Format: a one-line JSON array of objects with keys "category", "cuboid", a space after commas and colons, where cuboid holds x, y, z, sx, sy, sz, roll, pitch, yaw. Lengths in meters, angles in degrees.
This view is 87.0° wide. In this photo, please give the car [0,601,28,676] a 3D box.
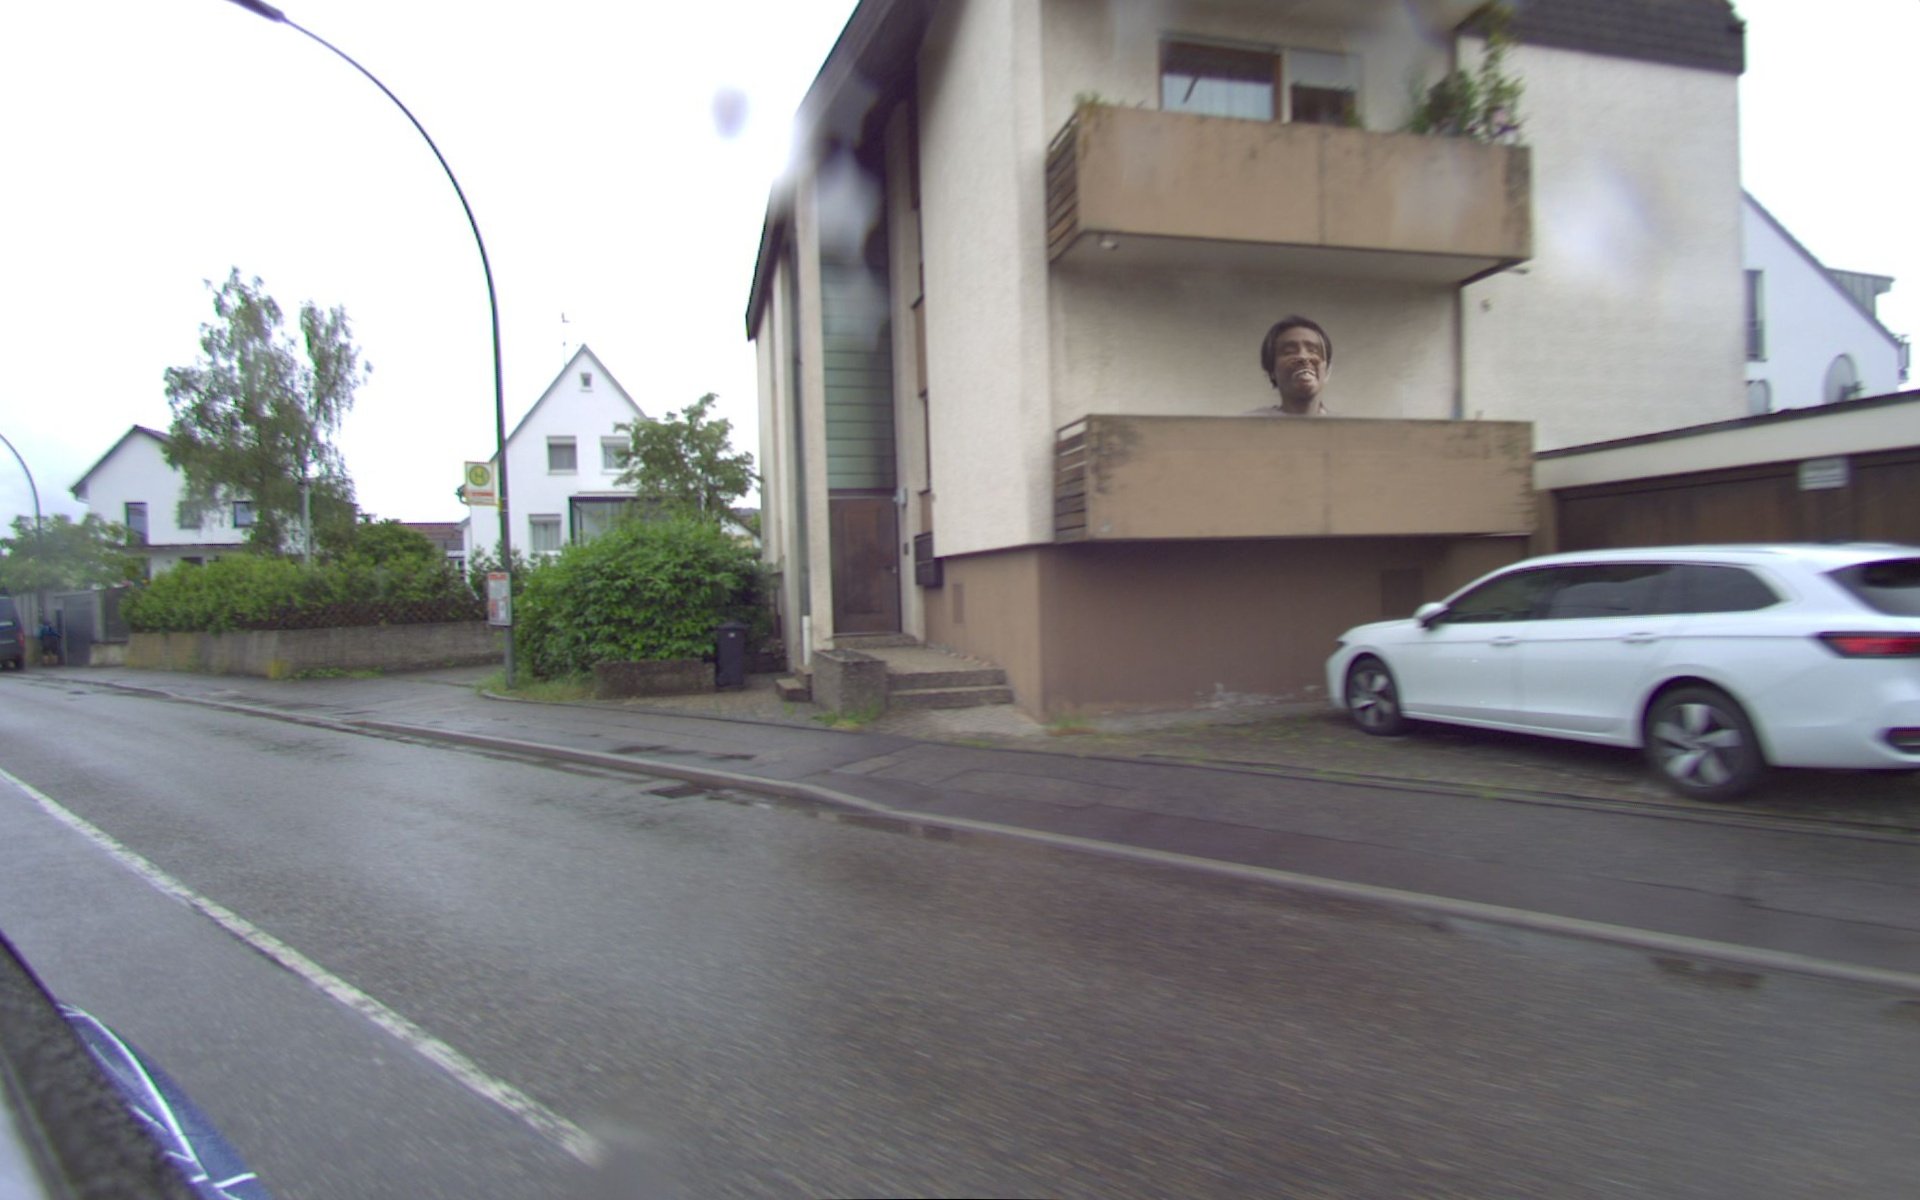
[{"category": "car", "cuboid": [-37.104, 1.535, 38.131, 5.913, 2.668, 2.074, -3, 1, 40]}]

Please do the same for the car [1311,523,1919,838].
[{"category": "car", "cuboid": [4.807, 0.336, 7.093, 1.875, 1.488, 4.896, -4, 1, -16]}]

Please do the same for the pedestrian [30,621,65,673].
[{"category": "pedestrian", "cuboid": [-34.479, 1.751, 38.249, 0.669, 1.900, 0.812, -2, 0, -20]}]
